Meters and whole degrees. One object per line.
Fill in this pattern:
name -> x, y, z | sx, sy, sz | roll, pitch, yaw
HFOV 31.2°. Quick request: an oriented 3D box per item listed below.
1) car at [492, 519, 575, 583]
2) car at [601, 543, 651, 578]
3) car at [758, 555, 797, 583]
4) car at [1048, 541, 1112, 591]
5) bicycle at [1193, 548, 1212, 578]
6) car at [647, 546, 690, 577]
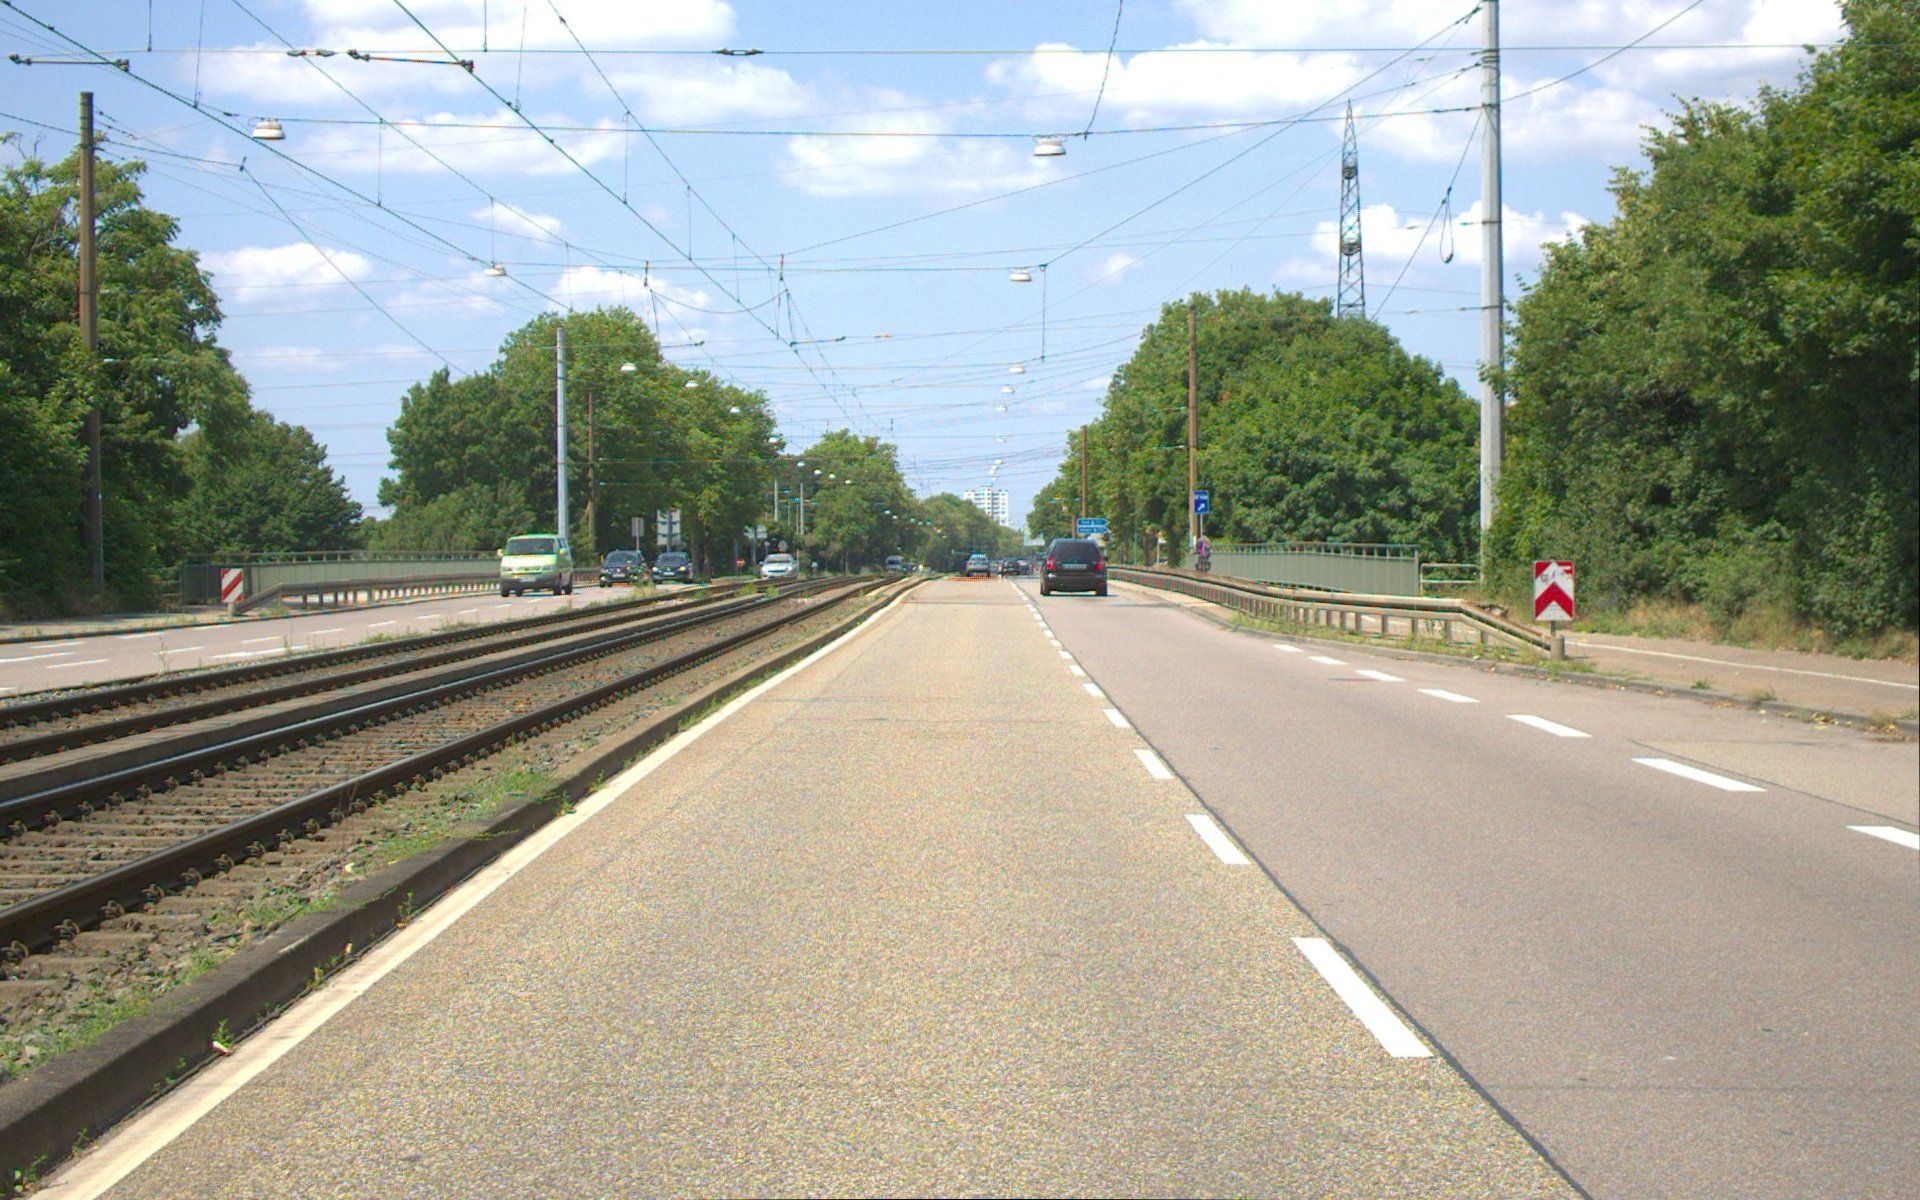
car -> -13.244, -1.521, 107.027 | 1.811, 1.919, 5.179 | -1, 1, 1
car -> -13.274, -1.576, 136.790 | 1.563, 1.343, 3.929 | -1, 1, 1
car -> -9.609, -1.618, 180.825 | 1.711, 1.415, 4.624 | -1, 1, 1
car -> 3.291, -0.943, 94.473 | 1.586, 1.338, 3.272 | -1, 1, -1
bicycle -> 8.525, -1.293, 120.861 | 0.559, 1.021, 1.848 | 0, 0, 1
car -> -13.276, -1.745, 156.592 | 1.574, 1.395, 3.938 | -1, 1, 0
